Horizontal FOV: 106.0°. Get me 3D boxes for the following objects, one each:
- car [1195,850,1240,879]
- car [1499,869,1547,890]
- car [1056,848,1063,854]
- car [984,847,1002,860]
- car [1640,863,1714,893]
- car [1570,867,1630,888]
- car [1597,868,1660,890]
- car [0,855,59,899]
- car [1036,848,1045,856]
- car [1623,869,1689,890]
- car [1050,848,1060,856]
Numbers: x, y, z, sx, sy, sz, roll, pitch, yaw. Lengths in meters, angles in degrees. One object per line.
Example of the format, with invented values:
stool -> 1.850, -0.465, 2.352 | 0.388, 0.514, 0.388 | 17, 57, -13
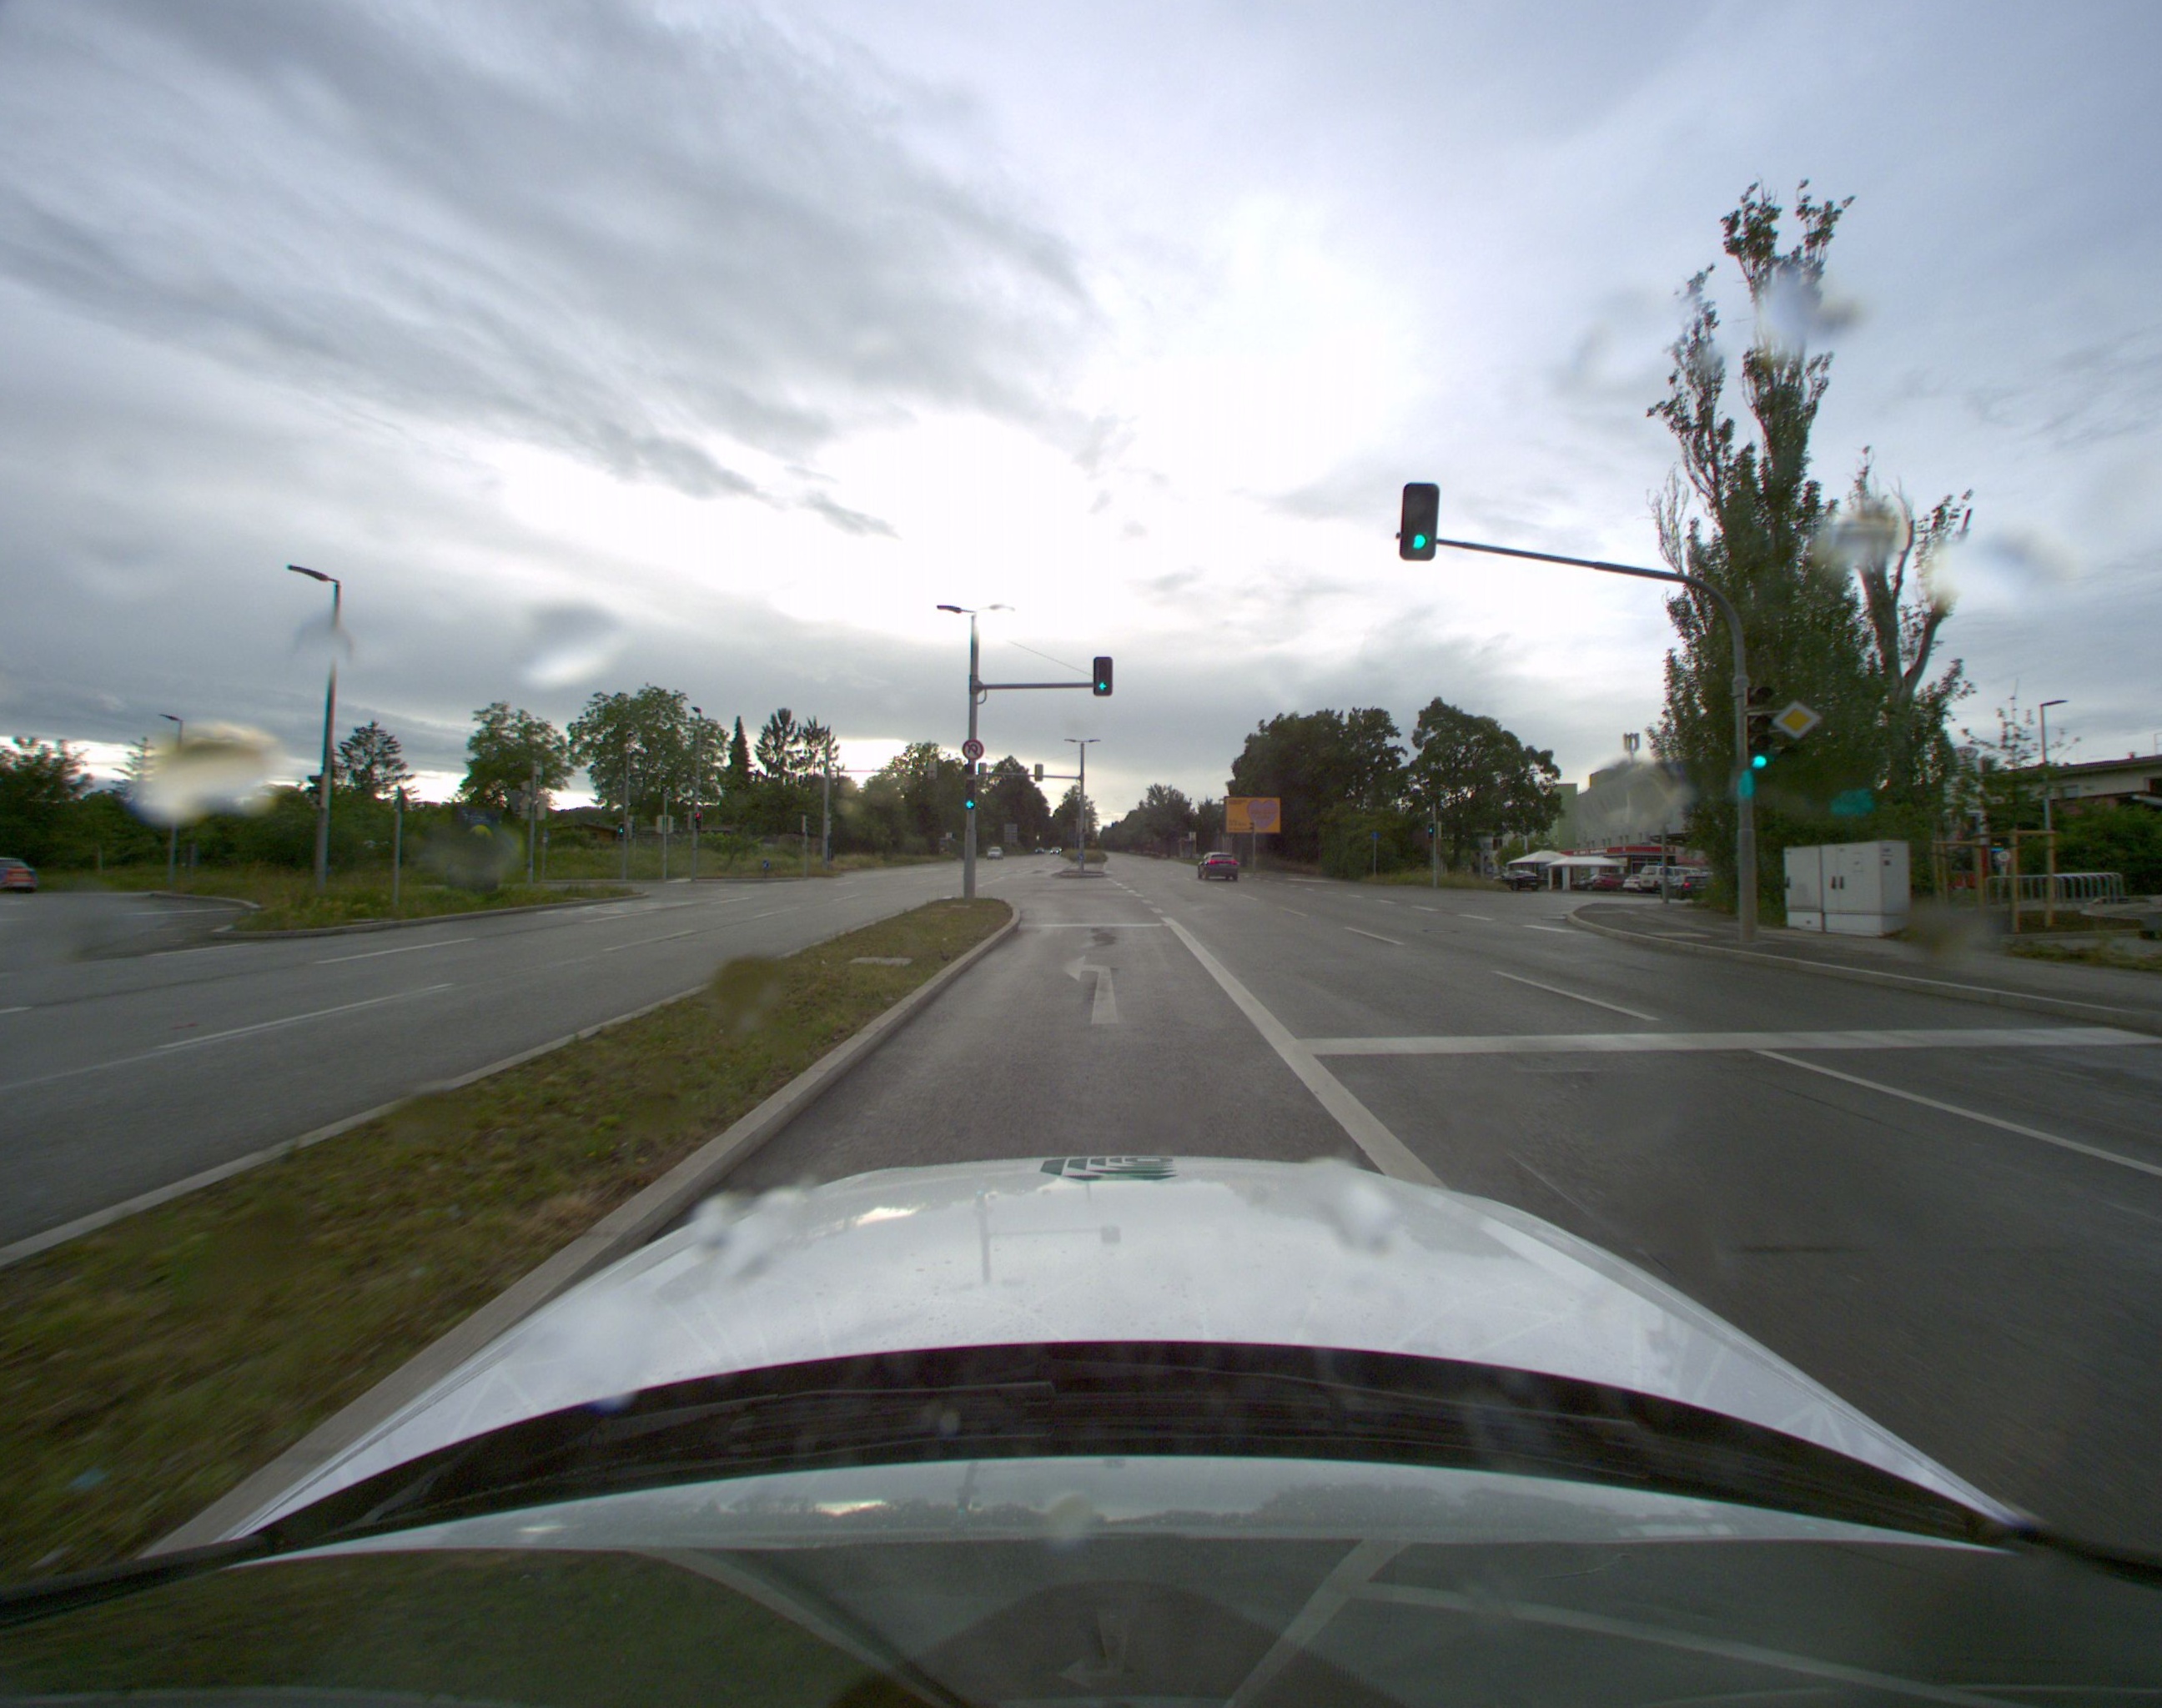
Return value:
car -> 7.329, 0.518, 44.026 | 1.739, 1.470, 4.166 | 1, 0, 1
car -> 36.188, 2.097, 66.805 | 1.771, 1.586, 4.142 | 2, -2, 1
car -> -6.538, -0.876, 245.385 | 1.887, 1.596, 4.489 | 1, 0, 1
car -> -11.501, -0.111, 106.859 | 1.763, 1.596, 4.489 | 1, 0, 1
car -> 41.068, 1.627, 56.142 | 3.861, 1.946, 1.853 | 1, 0, -6
car -> 40.570, 1.843, 63.655 | 3.861, 1.564, 1.514 | 1, 0, -6
car -> 41.102, 1.868, 61.127 | 3.861, 1.564, 1.514 | 1, 0, -6
car -> -44.965, 0.871, 32.889 | 4.182, 1.719, 2.077 | 2, -2, -8
car -> -9.223, -0.475, 186.061 | 1.887, 1.596, 4.489 | 1, 0, 1
car -> 41.570, 1.833, 58.902 | 3.861, 1.398, 1.514 | 1, 0, -6
car -> -5.403, -0.379, 170.078 | 1.887, 1.534, 4.489 | 1, 0, 1
